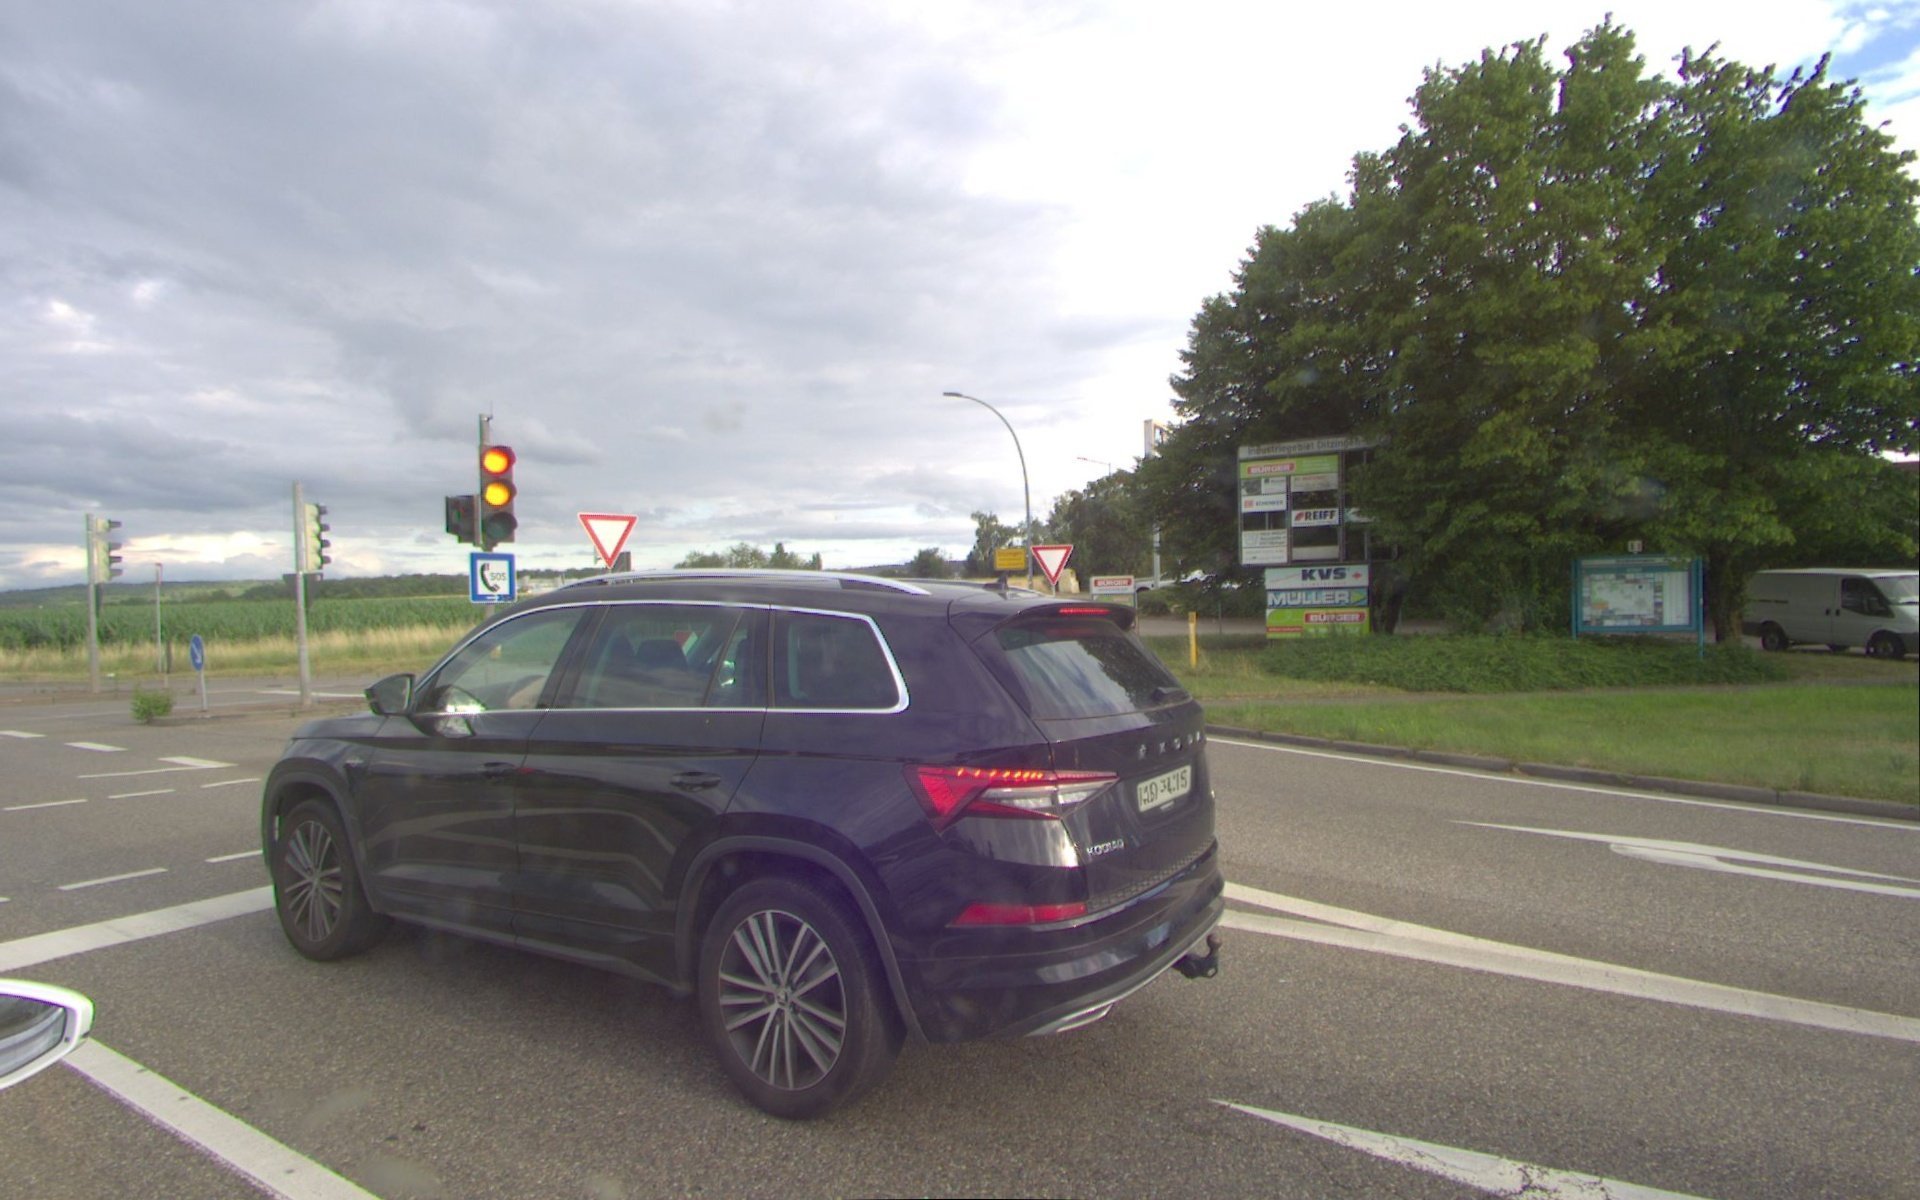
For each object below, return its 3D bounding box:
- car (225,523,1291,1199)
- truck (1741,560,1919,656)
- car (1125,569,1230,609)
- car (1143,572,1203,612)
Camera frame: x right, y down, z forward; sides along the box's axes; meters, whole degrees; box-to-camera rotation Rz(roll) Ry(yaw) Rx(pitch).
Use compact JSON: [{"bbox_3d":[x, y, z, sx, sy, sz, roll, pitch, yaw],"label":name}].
[{"bbox_3d":[-1.058,0.714,4.280,4.416,1.671,1.842,-1,-2,32],"label":"car"},{"bbox_3d":[21.033,0.221,23.358,1.788,2.022,4.671,0,-1,-3],"label":"truck"},{"bbox_3d":[12.427,-0.631,57.164,5.524,2.041,1.992,-2,1,25],"label":"car"},{"bbox_3d":[11.449,-0.455,53.676,1.931,1.910,4.284,-1,2,29],"label":"car"}]
